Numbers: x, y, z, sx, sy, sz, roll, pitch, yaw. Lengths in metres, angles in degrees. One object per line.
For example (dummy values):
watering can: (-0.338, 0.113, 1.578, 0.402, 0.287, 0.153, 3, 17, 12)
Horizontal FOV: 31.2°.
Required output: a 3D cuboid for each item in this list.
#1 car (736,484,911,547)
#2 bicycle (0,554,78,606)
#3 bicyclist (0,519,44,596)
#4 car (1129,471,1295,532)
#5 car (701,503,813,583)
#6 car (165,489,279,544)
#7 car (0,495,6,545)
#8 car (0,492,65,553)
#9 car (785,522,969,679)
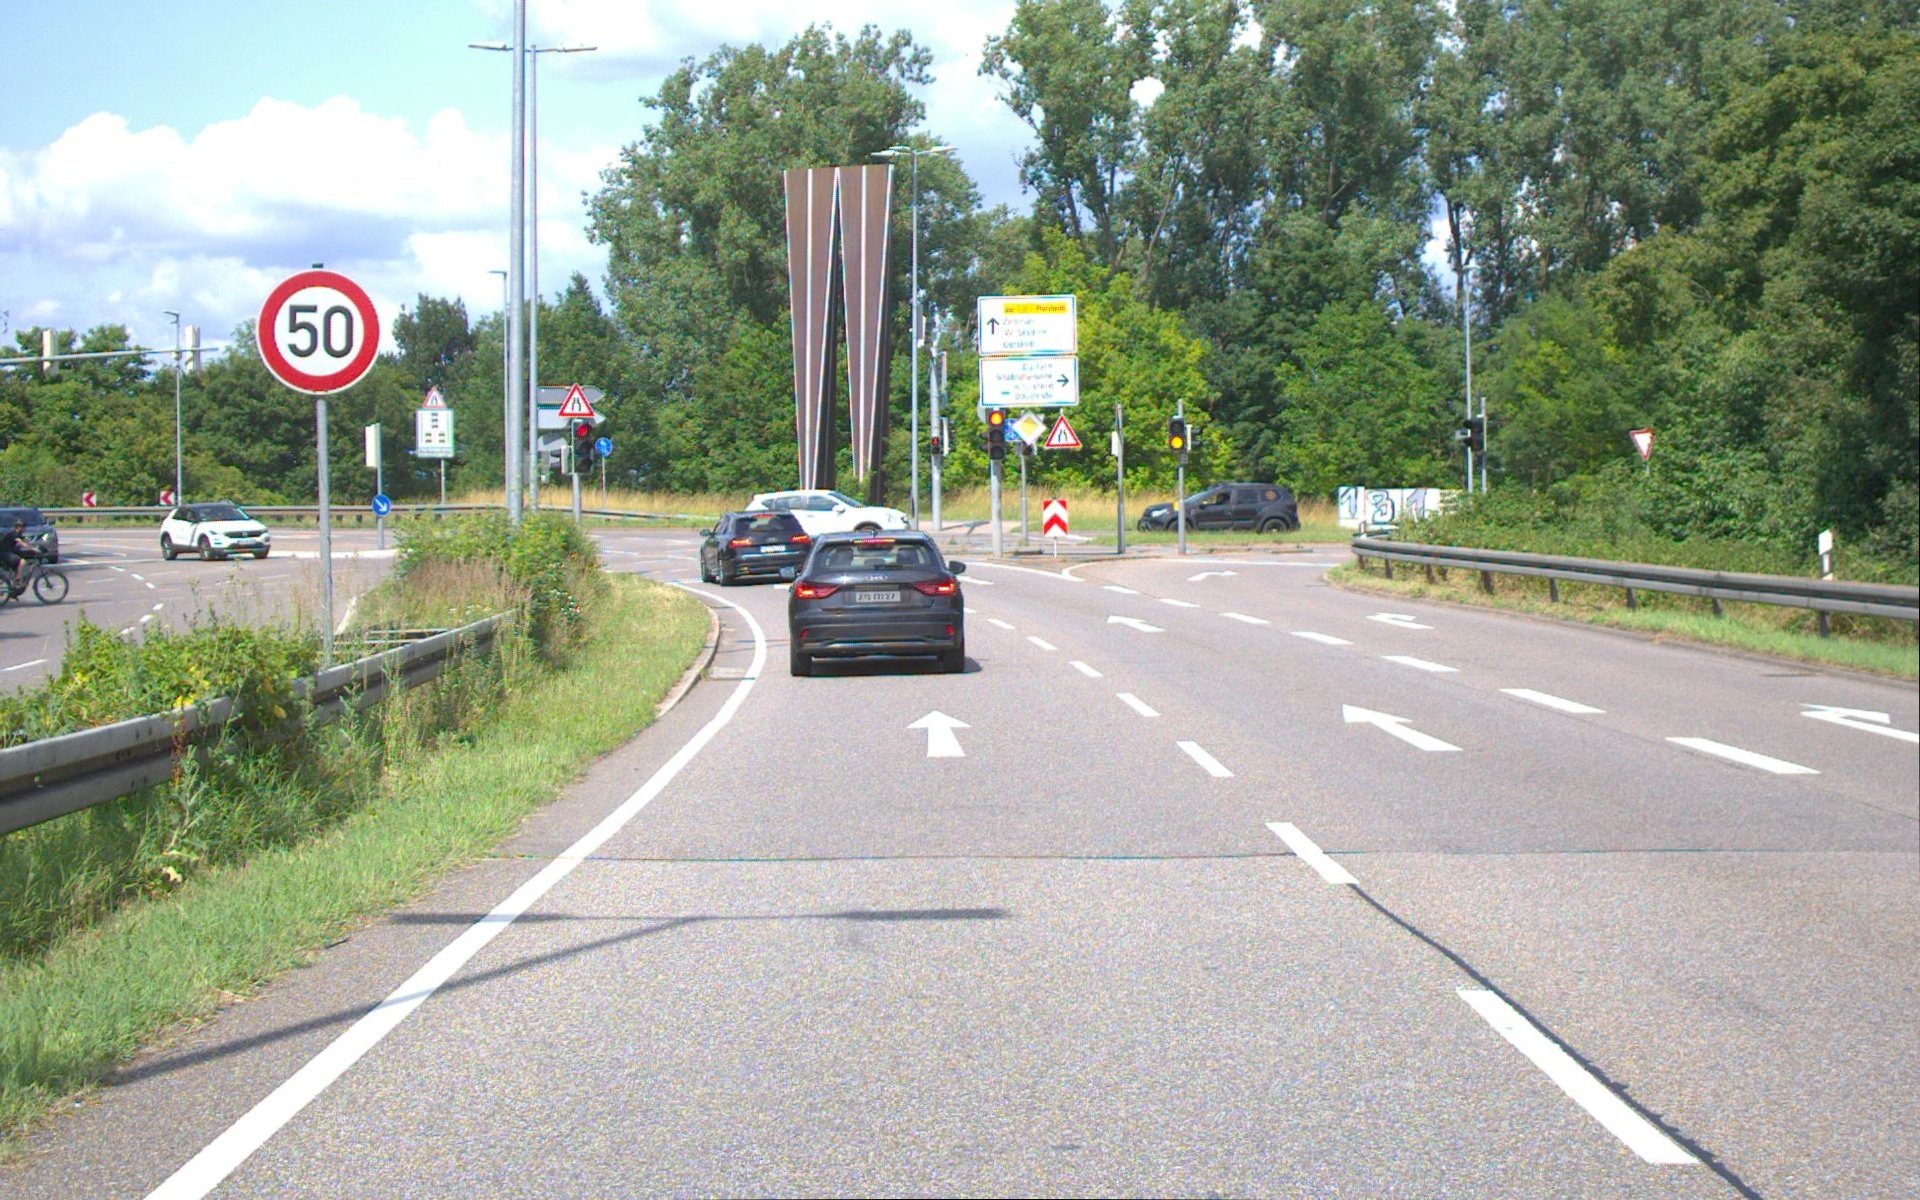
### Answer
car: (-3.387, -2.104, 85.805, 4.026, 1.504, 1.956, 1, 1, 10)
bicycle: (-19.342, -0.410, 71.071, 2.052, 1.020, 0.672, -2, 2, -21)
bicyclist: (-19.406, -0.884, 71.037, 0.834, 1.555, 0.672, -2, 2, -21)
car: (6.914, -2.709, 94.431, 4.267, 1.539, 1.737, -2, 2, -7)
car: (-4.083, -1.164, 68.632, 1.726, 1.418, 3.846, -4, 3, -10)
car: (-20.308, -2.307, 94.486, 1.731, 1.471, 4.047, 0, 2, -33)
car: (-30.224, -2.405, 104.212, 1.731, 1.471, 4.047, -2, 2, -27)
car: (-26.632, -2.165, 96.979, 1.838, 1.612, 4.001, -3, 1, -26)
car: (-0.892, -0.041, 34.820, 1.726, 1.399, 4.001, -1, 2, -3)
